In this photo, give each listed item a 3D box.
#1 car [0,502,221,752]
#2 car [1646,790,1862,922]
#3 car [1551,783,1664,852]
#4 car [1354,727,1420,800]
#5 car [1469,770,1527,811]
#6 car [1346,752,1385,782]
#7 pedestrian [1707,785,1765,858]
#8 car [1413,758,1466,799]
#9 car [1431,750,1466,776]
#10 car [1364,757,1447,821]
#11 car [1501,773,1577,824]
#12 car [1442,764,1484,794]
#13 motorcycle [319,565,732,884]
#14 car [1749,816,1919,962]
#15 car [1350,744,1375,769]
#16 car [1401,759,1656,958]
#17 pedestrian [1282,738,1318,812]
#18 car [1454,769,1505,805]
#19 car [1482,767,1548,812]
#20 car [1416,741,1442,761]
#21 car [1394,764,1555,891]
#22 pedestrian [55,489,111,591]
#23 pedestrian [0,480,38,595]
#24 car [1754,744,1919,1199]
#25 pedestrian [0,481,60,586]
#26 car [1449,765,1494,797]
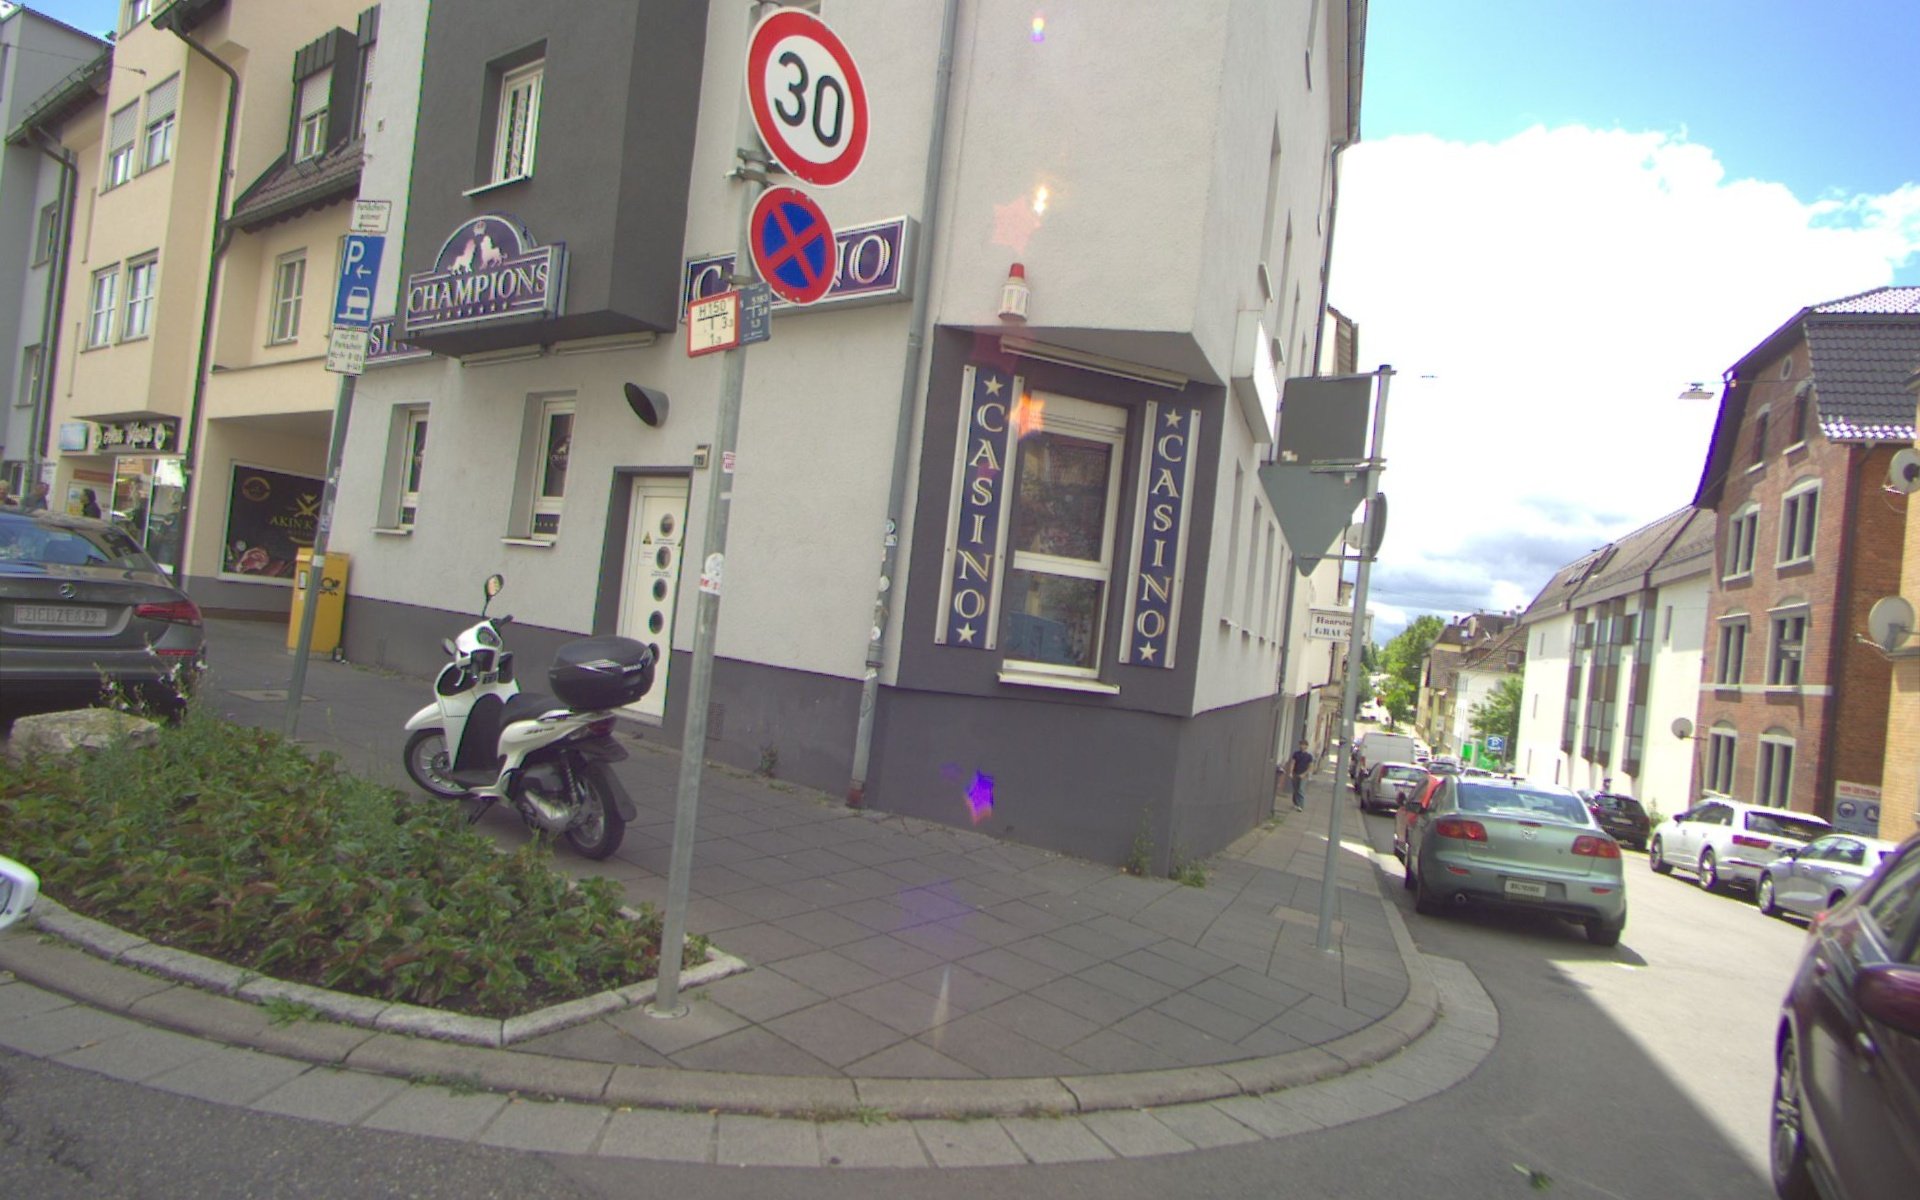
[{"bbox_3d":[-7.141,0.032,7.254,4.255,1.436,1.708,5,-4,38],"label":"car"},{"bbox_3d":[14.719,4.666,18.965,1.815,1.770,4.412,8,-7,22],"label":"car"},{"bbox_3d":[19.334,6.460,30.237,1.815,1.552,4.412,8,-7,22],"label":"car"},{"bbox_3d":[17.377,6.700,41.112,2.029,2.519,4.495,6,-7,21],"label":"car"},{"bbox_3d":[26.286,9.297,49.276,1.815,1.552,4.412,8,-7,22],"label":"car"},{"bbox_3d":[23.395,9.669,58.110,1.815,1.411,3.850,6,-7,21],"label":"car"},{"bbox_3d":[20.284,5.770,26.319,0.838,1.673,0.946,7,-3,22],"label":"pedestrian"},{"bbox_3d":[23.504,8.776,49.447,1.815,1.552,4.412,8,-7,22],"label":"car"},{"bbox_3d":[37.287,12.502,76.906,1.815,1.552,4.412,8,-7,22],"label":"car"},{"bbox_3d":[12.724,5.398,28.903,1.815,1.411,3.850,6,-7,21],"label":"car"},{"bbox_3d":[23.114,7.926,40.299,1.815,1.552,4.412,8,-7,22],"label":"car"},{"bbox_3d":[32.902,11.752,65.902,1.815,1.552,4.412,8,-7,22],"label":"car"},{"bbox_3d":[-2.374,0.565,5.349,2.337,1.273,0.660,6,-3,32],"label":"motorcycle"},{"bbox_3d":[12.682,3.968,13.812,1.816,1.412,3.898,8,-5,24],"label":"car"},{"bbox_3d":[41.542,16.164,103.948,2.029,2.093,4.495,6,-7,21],"label":"car"},{"bbox_3d":[5.849,2.613,10.811,1.816,1.411,3.902,6,-7,23],"label":"car"},{"bbox_3d":[8.294,4.245,24.534,0.570,1.675,0.950,7,-3,23],"label":"pedestrian"},{"bbox_3d":[28.593,10.284,55.473,1.815,1.552,4.412,8,-7,22],"label":"car"},{"bbox_3d":[24.705,8.429,44.892,1.815,1.552,4.412,8,-7,22],"label":"car"},{"bbox_3d":[47.442,15.346,101.828,1.815,1.552,4.412,8,-7,22],"label":"car"},{"bbox_3d":[7.855,3.457,15.686,1.816,1.411,3.849,6,-7,23],"label":"car"},{"bbox_3d":[-15.676,-1.072,17.990,0.528,1.737,0.436,6,-2,33],"label":"pedestrian"},{"bbox_3d":[-15.151,-1.005,15.772,0.645,1.738,0.744,6,-1,34],"label":"pedestrian"},{"bbox_3d":[2.937,1.198,2.156,1.513,1.546,3.753,6,-4,34],"label":"car"},{"bbox_3d":[-16.325,-1.161,17.602,0.596,1.737,0.536,6,-2,34],"label":"pedestrian"},{"bbox_3d":[31.113,11.024,61.289,1.815,1.552,4.412,8,-7,22],"label":"car"}]
